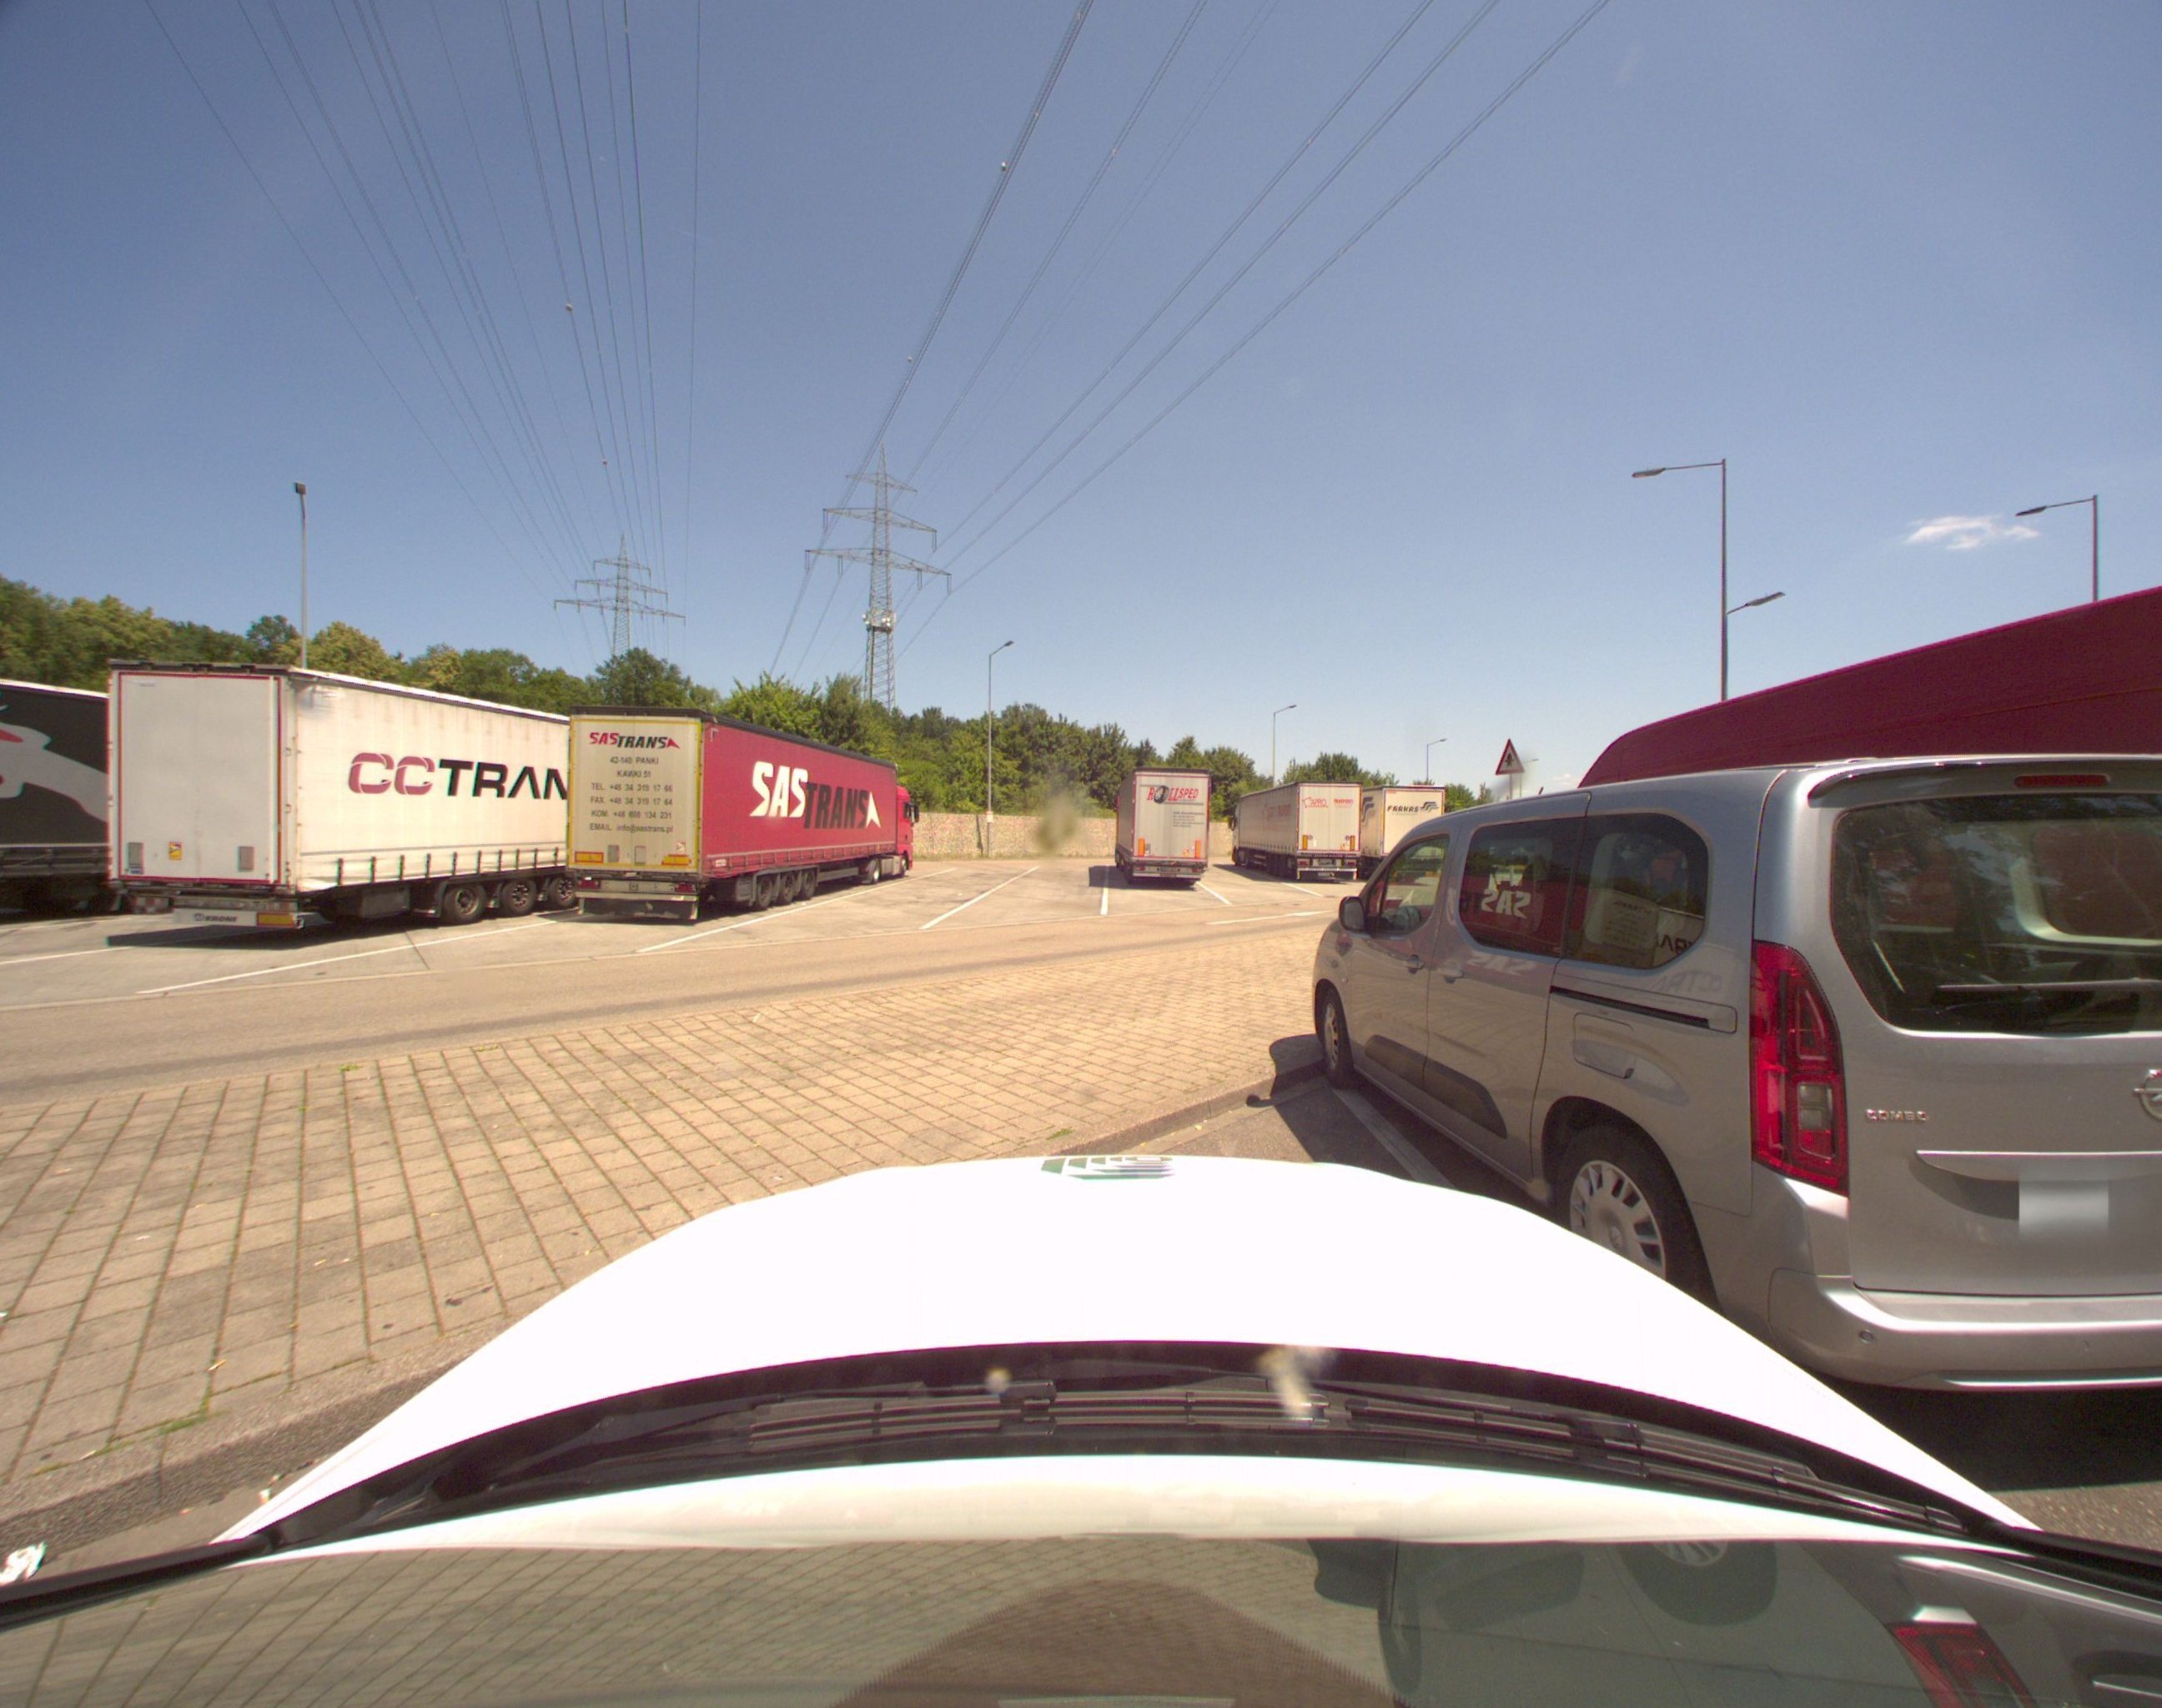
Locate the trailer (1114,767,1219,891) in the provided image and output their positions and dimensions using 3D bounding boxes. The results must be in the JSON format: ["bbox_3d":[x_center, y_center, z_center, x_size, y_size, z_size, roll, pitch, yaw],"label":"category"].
[{"bbox_3d":[3.074,-1.065,33.729,3.122,3.989,14.401,1,2,1],"label":"trailer"}]

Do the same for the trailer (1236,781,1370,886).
[{"bbox_3d":[9.940,-1.046,38.678,2.801,3.989,14.403,1,2,2],"label":"trailer"}]

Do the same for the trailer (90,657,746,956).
[{"bbox_3d":[-12.117,-0.911,18.369,2.785,4.084,14.139,1,2,2],"label":"trailer"}]

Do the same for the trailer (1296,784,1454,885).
[{"bbox_3d":[13.613,-1.037,39.641,2.801,3.989,14.403,1,2,2],"label":"trailer"}]

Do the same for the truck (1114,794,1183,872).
[{"bbox_3d":[3.240,-1.082,40.623,3.092,3.566,5.903,1,2,2],"label":"truck"}]

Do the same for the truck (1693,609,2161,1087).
[{"bbox_3d":[8.002,-0.034,6.489,2.444,2.912,5.663,-1,-1,7],"label":"truck"}]

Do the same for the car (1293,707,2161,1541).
[{"bbox_3d":[2.500,0.577,3.917,1.864,1.863,4.176,1,1,0],"label":"car"}]

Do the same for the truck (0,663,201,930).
[{"bbox_3d":[-18.529,-0.968,13.818,2.726,4.239,3.997,1,2,2],"label":"truck"}]

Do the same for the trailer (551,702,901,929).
[{"bbox_3d":[-8.053,-0.947,21.939,2.781,4.084,14.139,1,2,2],"label":"trailer"}]

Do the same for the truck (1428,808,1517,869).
[{"bbox_3d":[24.366,-1.008,51.019,2.792,3.521,5.903,1,2,2],"label":"truck"}]

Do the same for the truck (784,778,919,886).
[{"bbox_3d":[-7.805,-0.785,28.509,2.840,3.327,5.903,1,2,2],"label":"truck"}]

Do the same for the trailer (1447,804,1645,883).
[{"bbox_3d":[24.110,-0.735,43.788,2.801,3.507,14.403,1,2,2],"label":"trailer"}]

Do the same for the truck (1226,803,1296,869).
[{"bbox_3d":[10.202,-1.077,46.779,2.852,3.521,5.903,1,2,2],"label":"truck"}]

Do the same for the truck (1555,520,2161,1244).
[{"bbox_3d":[5.146,0.121,4.941,1.968,2.622,5.314,0,-1,7],"label":"truck"}]
